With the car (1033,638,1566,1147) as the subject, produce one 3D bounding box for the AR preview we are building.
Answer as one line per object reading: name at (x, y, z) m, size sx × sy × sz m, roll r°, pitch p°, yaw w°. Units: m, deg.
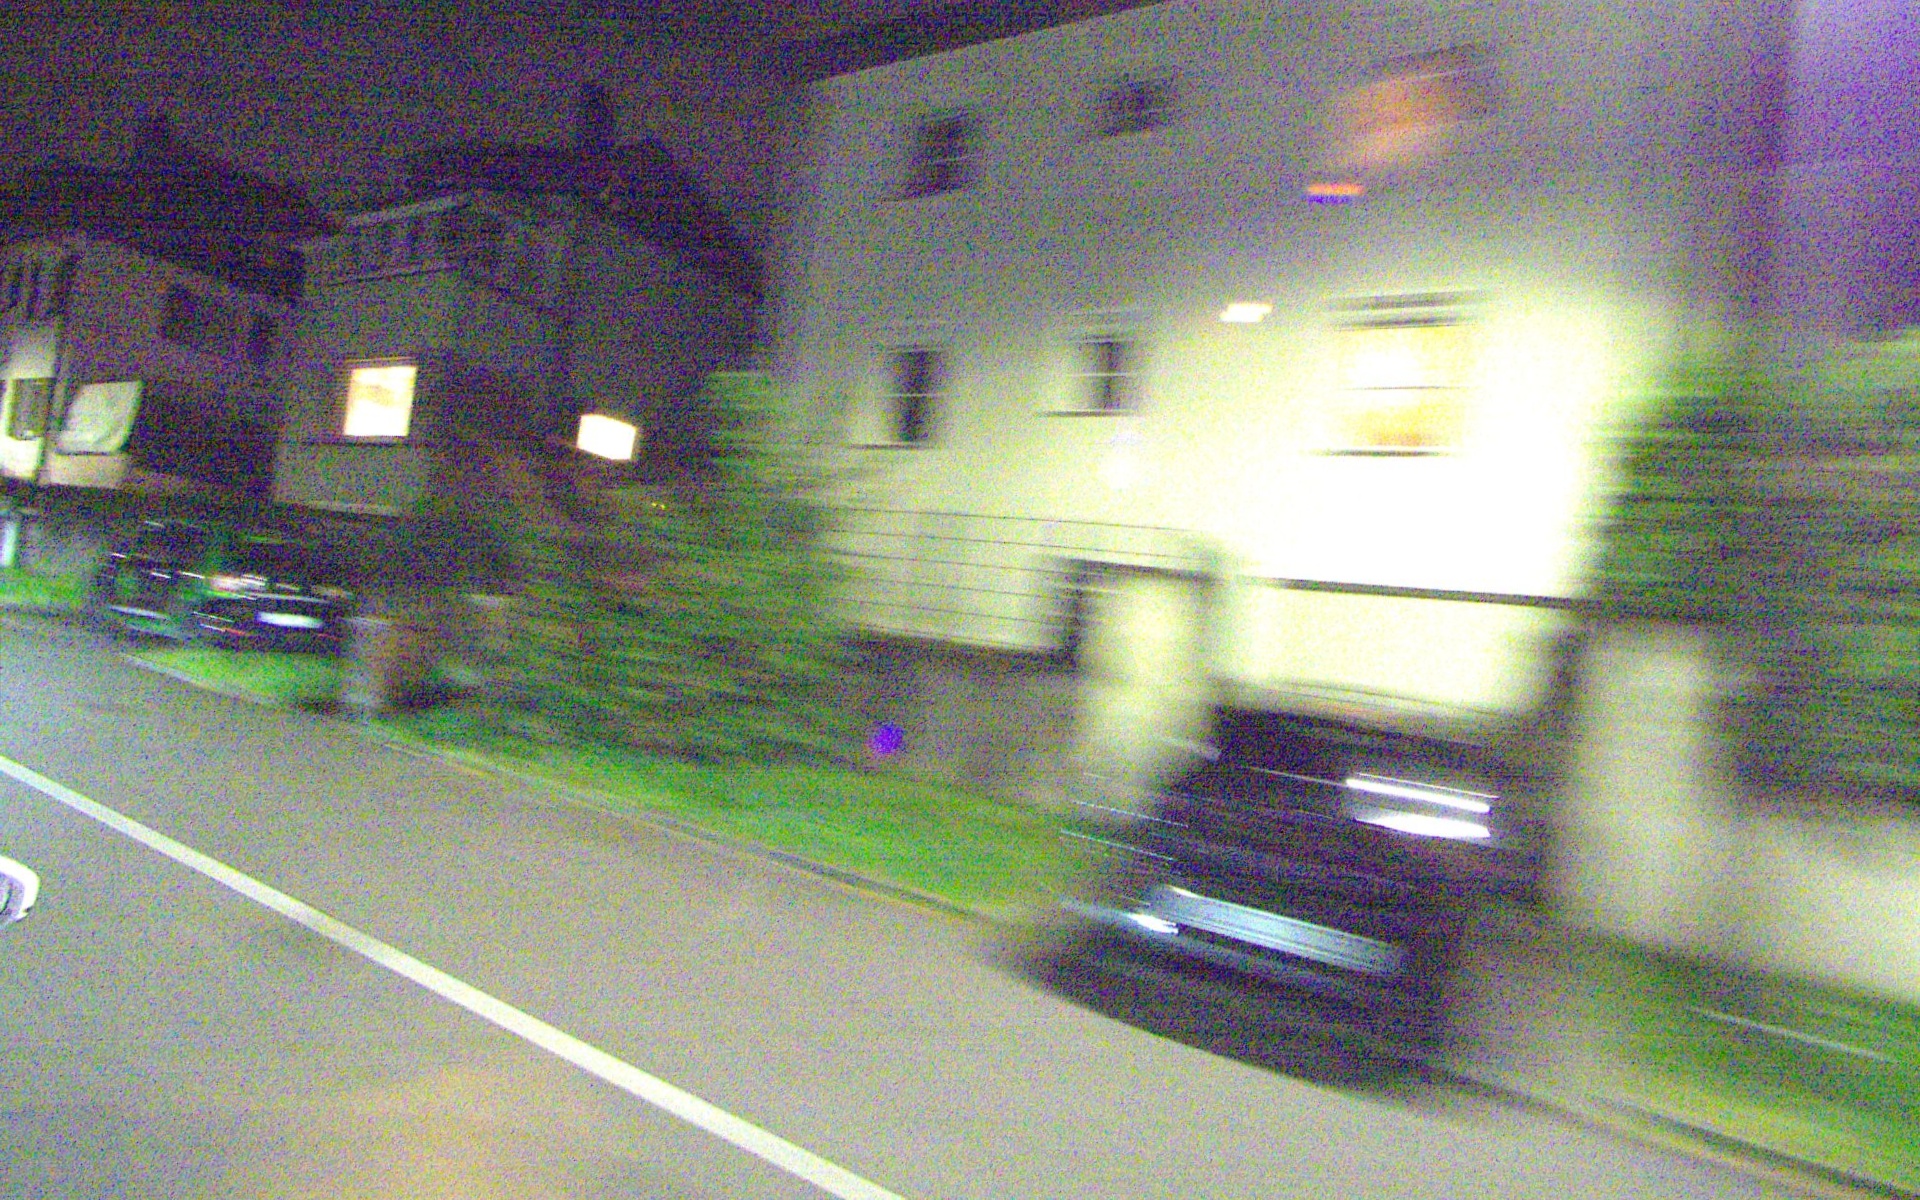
car at (2.135, 1.164, 5.521) m, size 1.802 × 1.503 × 3.912 m, roll 7°, pitch -1°, yaw 30°
